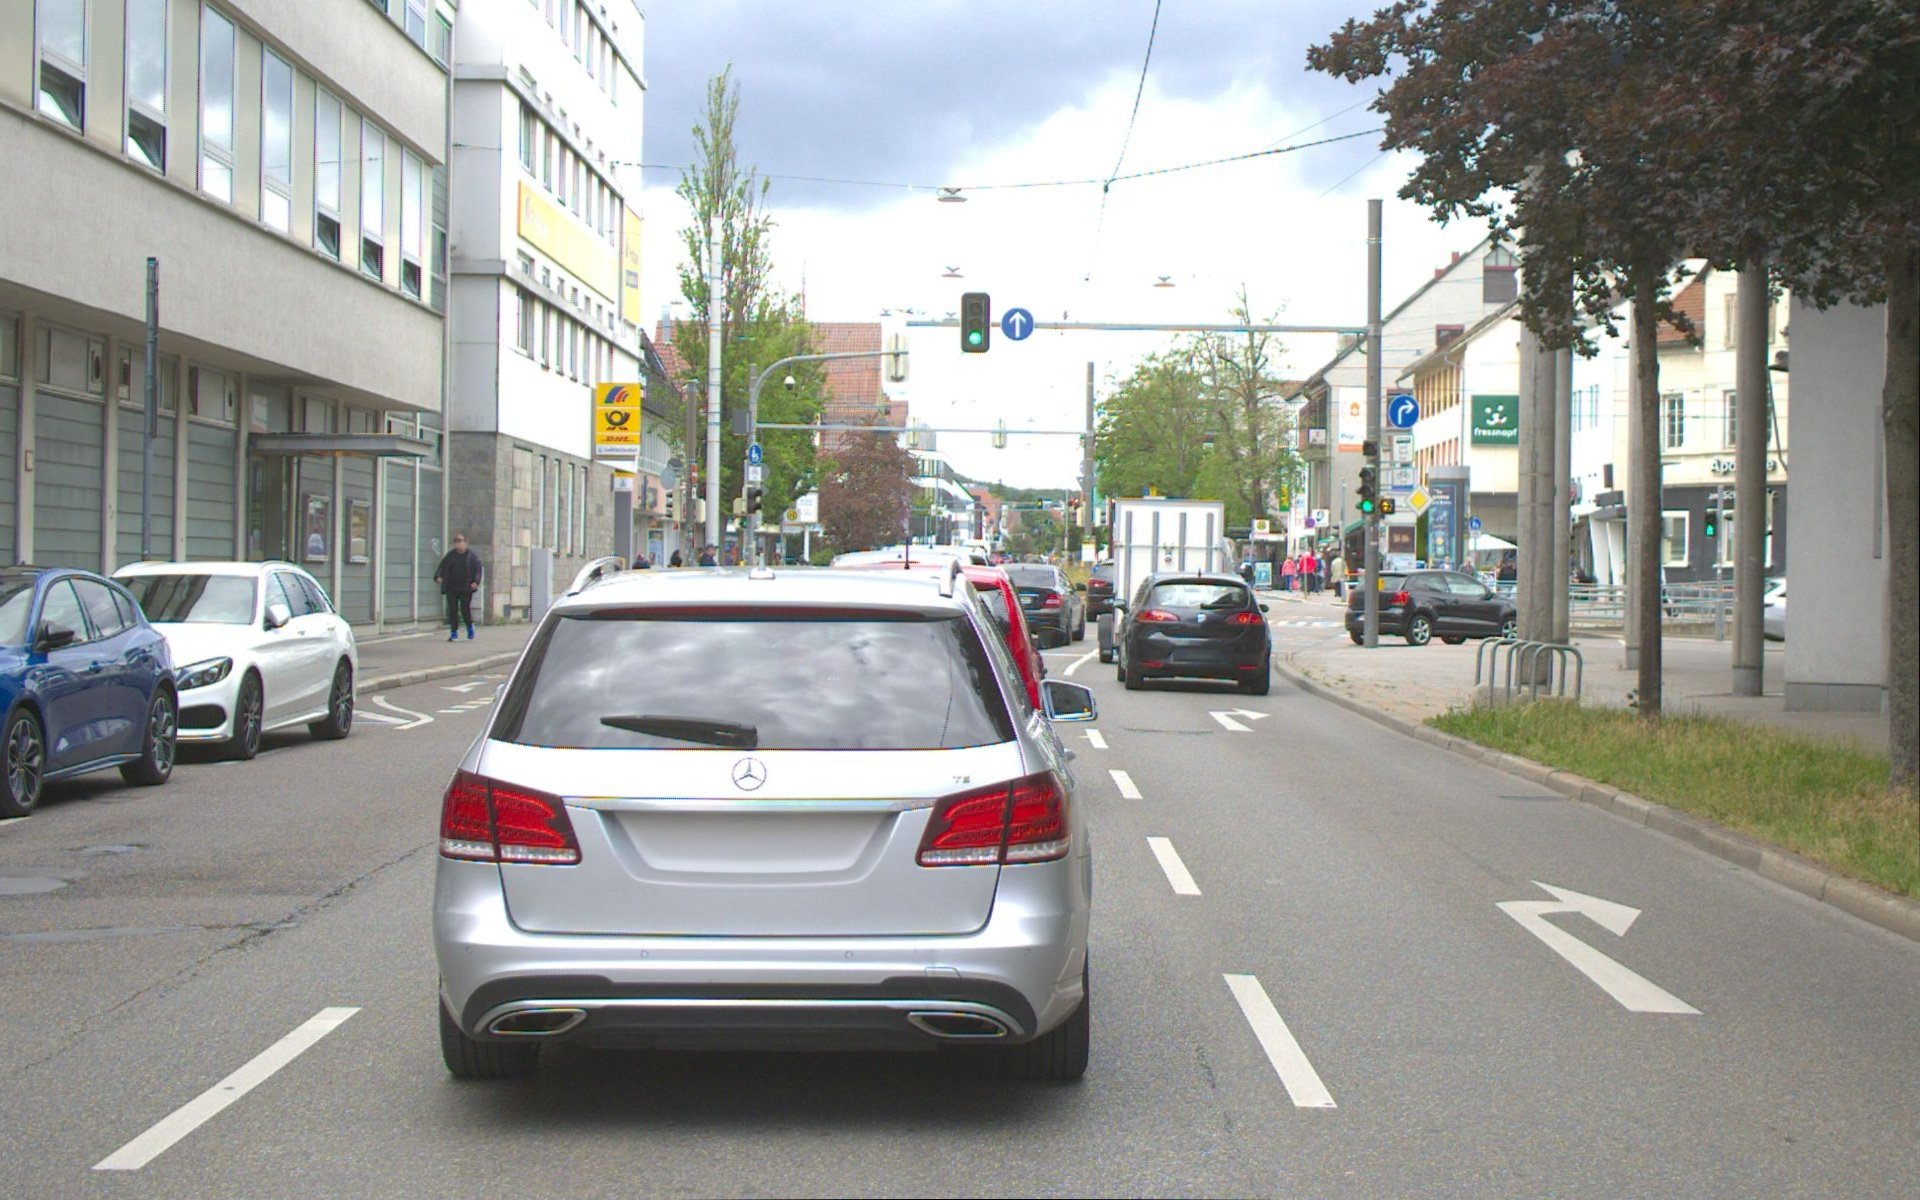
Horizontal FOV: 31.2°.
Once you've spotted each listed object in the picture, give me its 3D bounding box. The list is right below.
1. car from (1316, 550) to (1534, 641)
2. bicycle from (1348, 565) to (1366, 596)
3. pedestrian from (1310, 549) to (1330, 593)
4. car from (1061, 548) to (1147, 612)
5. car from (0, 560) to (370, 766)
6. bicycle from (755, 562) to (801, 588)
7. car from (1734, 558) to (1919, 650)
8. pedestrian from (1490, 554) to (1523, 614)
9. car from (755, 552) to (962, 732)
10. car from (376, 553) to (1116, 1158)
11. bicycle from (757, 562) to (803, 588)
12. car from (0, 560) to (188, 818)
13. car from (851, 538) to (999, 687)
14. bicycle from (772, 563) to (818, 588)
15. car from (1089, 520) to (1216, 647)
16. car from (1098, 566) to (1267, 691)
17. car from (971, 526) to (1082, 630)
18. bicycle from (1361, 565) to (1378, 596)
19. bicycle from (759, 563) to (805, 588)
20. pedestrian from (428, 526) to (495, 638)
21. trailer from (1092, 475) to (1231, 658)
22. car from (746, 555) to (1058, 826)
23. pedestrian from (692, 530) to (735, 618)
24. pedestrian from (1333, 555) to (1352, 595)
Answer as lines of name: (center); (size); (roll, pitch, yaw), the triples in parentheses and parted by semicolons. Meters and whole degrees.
car: (8.818, -0.094, 65.097); (3.787, 1.664, 1.929); (0, 1, -36)
bicycle: (14.567, -0.720, 126.143); (0.448, 1.087, 2.149); (1, 1, 2)
pedestrian: (13.852, -1.113, 132.324); (0.577, 1.661, 0.651); (2, 0, -10)
car: (3.308, -0.483, 79.652); (1.734, 1.406, 4.000); (0, 1, -1)
car: (-5.927, 0.420, 26.740); (1.670, 1.429, 4.552); (-1, 1, 3)
bicycle: (-7.918, -1.089, 149.363); (1.937, 1.025, 0.530); (2, 0, -8)
car: (17.610, 0.099, 67.046); (4.545, 1.600, 1.740); (3, 1, 0)
pedestrian: (15.733, -0.452, 98.951); (0.649, 1.712, 0.703); (1, 1, 44)
car: (-0.891, 0.327, 30.926); (1.734, 1.503, 4.000); (0, 1, -1)
car: (-0.576, 0.615, 10.718); (1.845, 1.503, 4.171); (0, 1, -1)
bicycle: (-7.799, -1.078, 148.767); (1.937, 1.025, 0.530); (2, 0, -8)
car: (-6.171, 0.486, 20.863); (1.815, 1.421, 4.264); (-1, 1, 3)
car: (-0.447, 0.121, 42.644); (1.734, 1.753, 4.000); (0, 1, -1)
bicycle: (-7.303, -1.098, 152.080); (1.937, 1.025, 0.530); (2, 0, -8)
car: (3.169, -0.296, 57.474); (1.878, 1.939, 4.906); (3, 1, 2)
car: (2.691, 0.314, 42.293); (1.734, 1.406, 4.000); (0, 1, -1)
car: (1.151, -0.410, 61.238); (1.828, 1.779, 4.000); (1, 1, -1)
bicycle: (15.016, -0.722, 126.130); (0.448, 1.103, 2.149); (1, 1, 2)
bicycle: (-7.673, -1.067, 148.104); (1.937, 1.025, 0.530); (2, 0, -8)
pedestrian: (-7.812, -0.281, 53.913); (0.861, 1.712, 1.031); (2, 1, -1)
trailer: (3.062, -0.520, 53.033); (1.878, 2.604, 4.323); (3, 1, 2)
car: (-0.343, 0.482, 21.256); (1.734, 1.503, 4.000); (0, 1, -1)
pedestrian: (-4.931, -0.521, 68.793); (0.648, 1.712, 0.782); (2, 1, 8)
pedestrian: (14.330, -0.937, 128.896); (0.578, 1.464, 0.651); (2, 0, -1)
